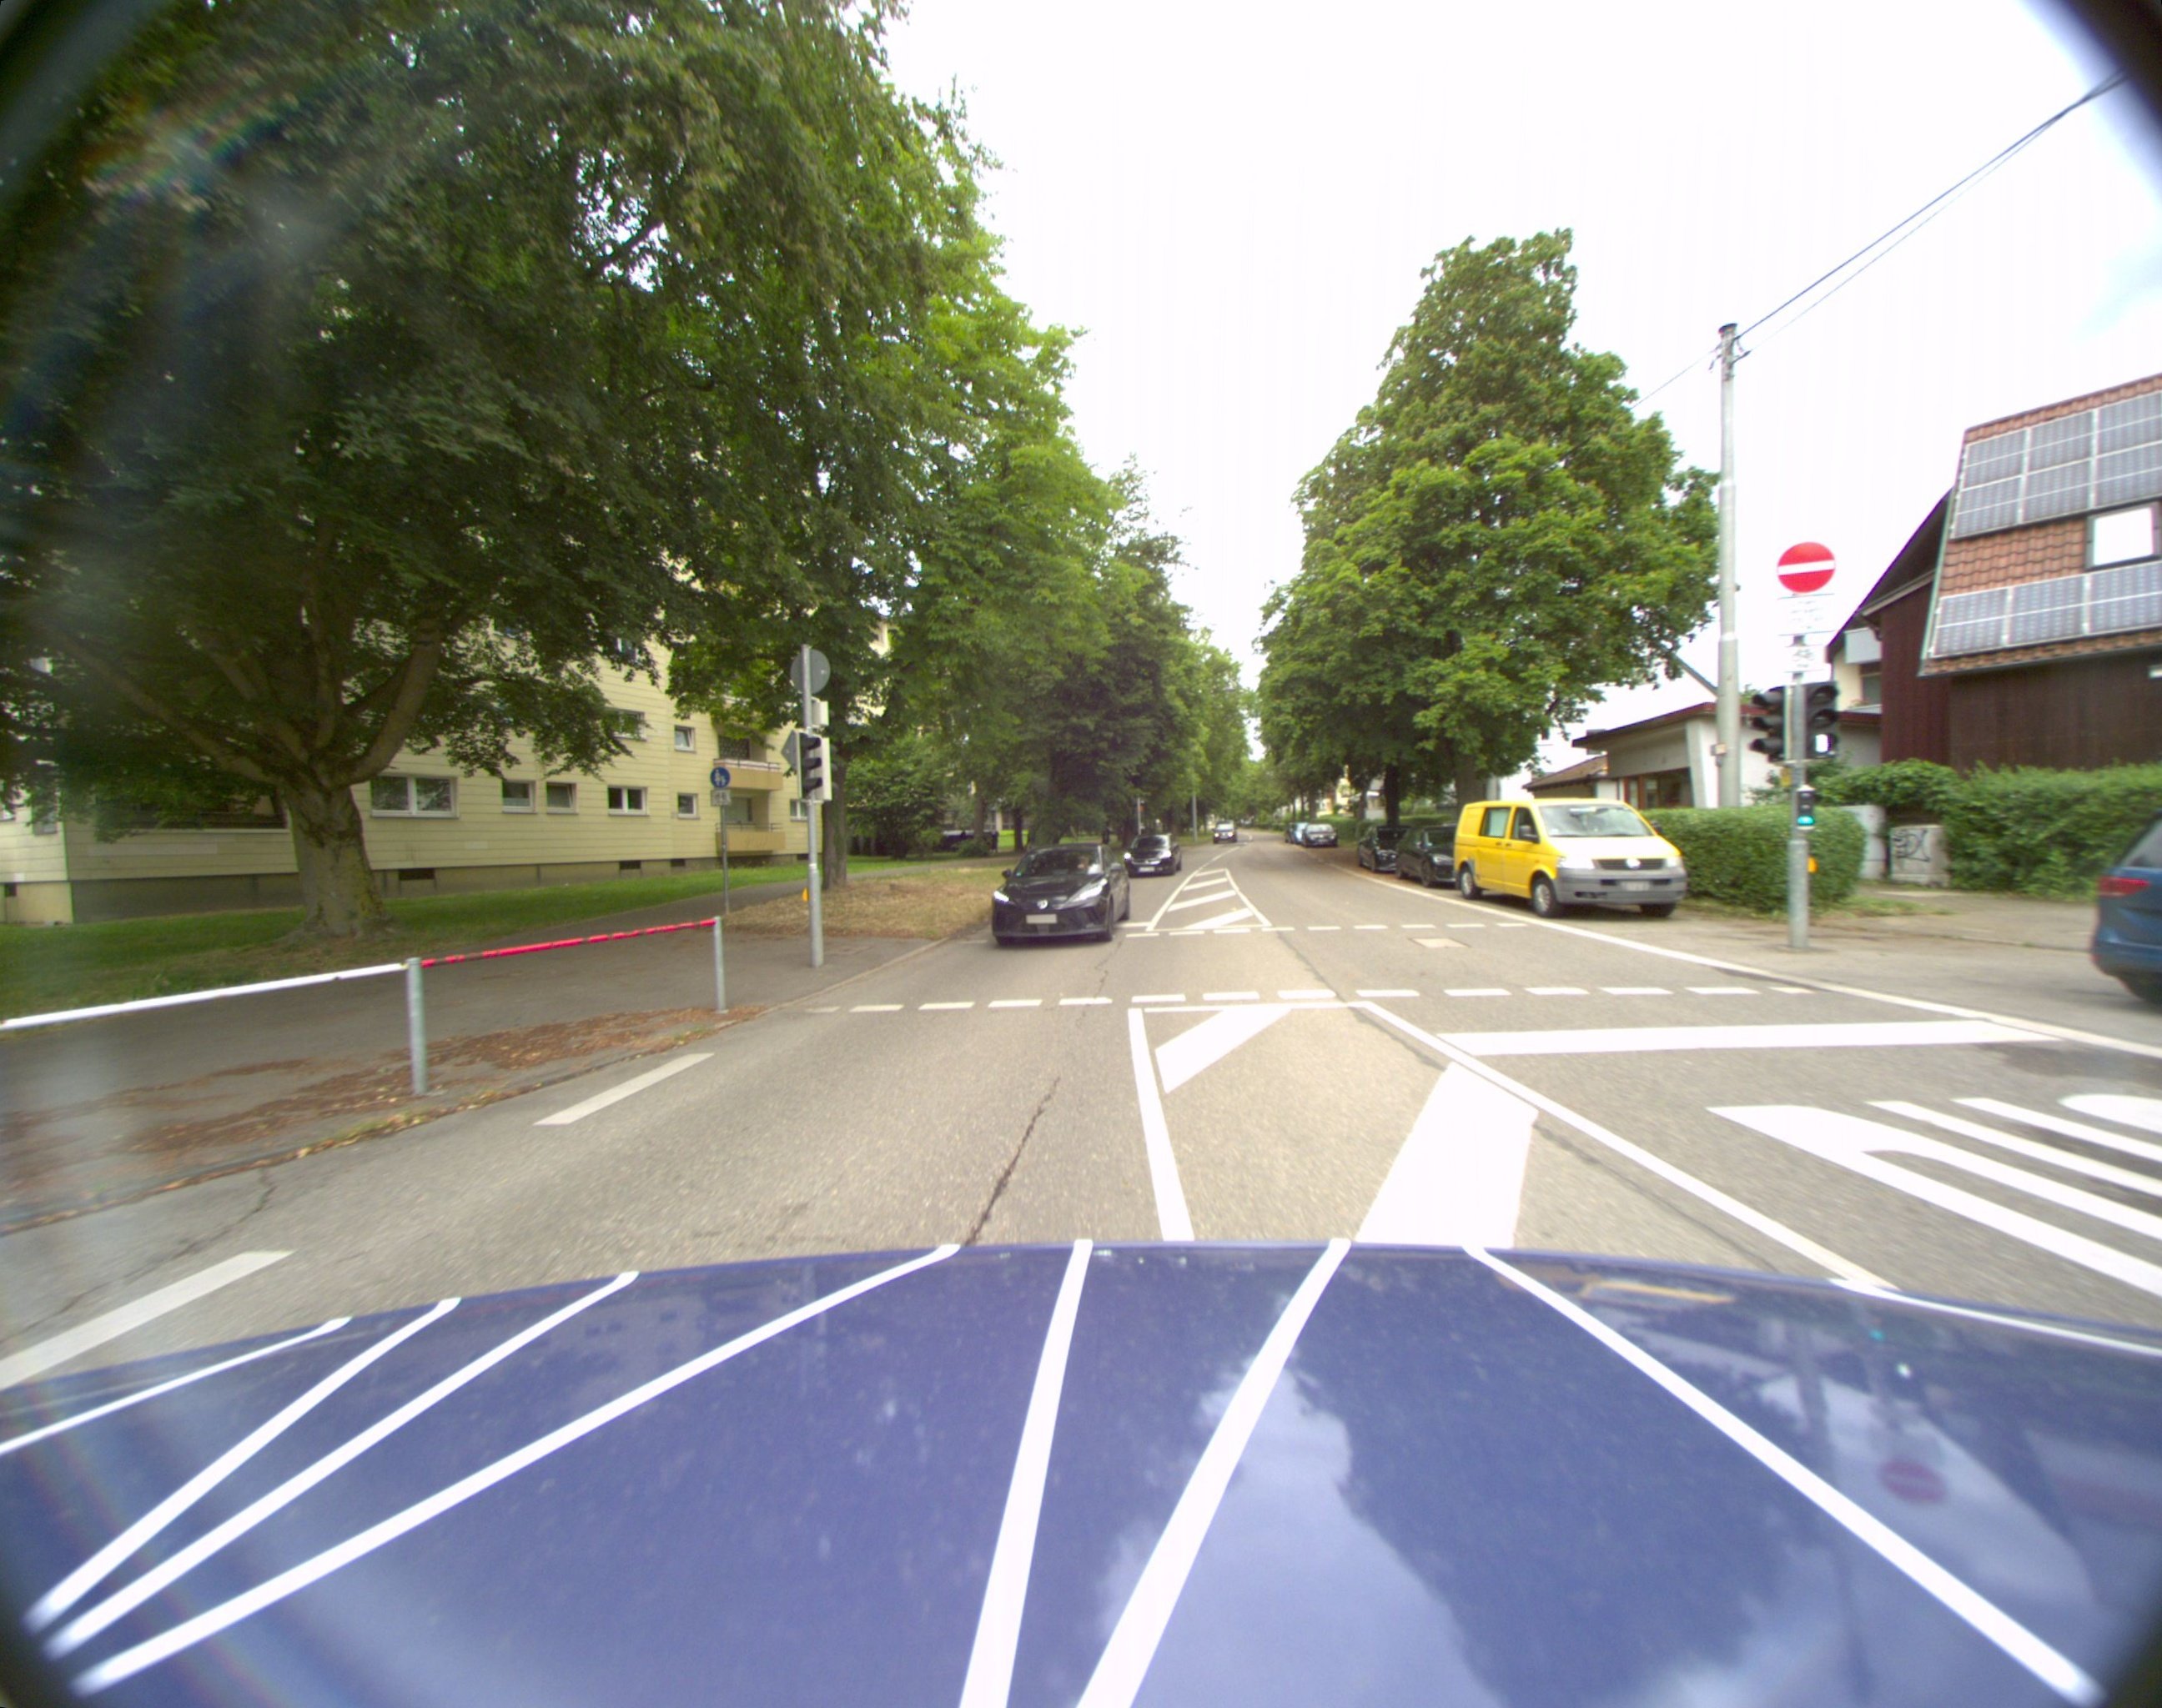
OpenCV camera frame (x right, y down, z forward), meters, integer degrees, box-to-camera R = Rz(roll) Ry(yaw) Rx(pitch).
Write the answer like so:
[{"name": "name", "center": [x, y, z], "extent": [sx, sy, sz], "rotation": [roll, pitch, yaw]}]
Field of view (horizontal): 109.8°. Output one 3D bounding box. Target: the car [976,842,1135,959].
[{"name": "car", "center": [-0.223, 0.642, 12.906], "extent": [1.802, 1.542, 4.300], "rotation": [-2, 2, 10]}]

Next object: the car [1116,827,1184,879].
[{"name": "car", "center": [2.547, -0.093, 27.028], "extent": [1.812, 1.521, 4.001], "rotation": [-1, 4, 13]}]

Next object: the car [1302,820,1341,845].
[{"name": "car", "center": [13.986, -1.289, 44.389], "extent": [1.850, 1.369, 4.596], "rotation": [-1, 2, 14]}]

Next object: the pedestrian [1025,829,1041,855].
[{"name": "pedestrian", "center": [-2.626, -0.675, 41.477], "extent": [0.688, 1.374, 0.606], "rotation": [-1, 4, 11]}]

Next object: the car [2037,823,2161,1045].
[{"name": "car", "center": [9.630, 0.508, 5.046], "extent": [4.175, 1.538, 1.845], "rotation": [-2, 1, 1]}]

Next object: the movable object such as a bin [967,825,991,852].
[{"name": "movable object such as a bin", "center": [-6.439, -0.996, 48.033], "extent": [1.276, 1.633, 1.020], "rotation": [0, 4, 8]}]

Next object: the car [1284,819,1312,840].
[{"name": "car", "center": [15.666, -1.786, 54.959], "extent": [1.539, 1.369, 3.773], "rotation": [-1, 2, 11]}]

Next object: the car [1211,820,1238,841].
[{"name": "car", "center": [11.548, -1.900, 60.948], "extent": [1.996, 1.586, 4.002], "rotation": [-1, 3, 13]}]

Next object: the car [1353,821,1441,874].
[{"name": "car", "center": [9.890, -0.269, 24.112], "extent": [1.748, 1.442, 4.595], "rotation": [-1, 3, 12]}]

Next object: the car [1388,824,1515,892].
[{"name": "car", "center": [9.173, 0.006, 19.215], "extent": [1.748, 1.442, 4.515], "rotation": [-1, 3, 11]}]

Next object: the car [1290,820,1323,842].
[{"name": "car", "center": [14.851, -1.533, 50.194], "extent": [1.636, 1.369, 4.153], "rotation": [-1, 2, 11]}]

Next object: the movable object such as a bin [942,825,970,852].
[{"name": "movable object such as a bin", "center": [-7.930, -1.002, 48.243], "extent": [1.433, 1.633, 1.020], "rotation": [0, 4, 8]}]

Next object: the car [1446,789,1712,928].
[{"name": "car", "center": [8.355, -0.021, 13.408], "extent": [1.920, 1.978, 4.800], "rotation": [-1, 2, 6]}]

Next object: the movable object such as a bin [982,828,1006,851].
[{"name": "movable object such as a bin", "center": [-5.784, -0.981, 50.535], "extent": [1.327, 1.467, 1.202], "rotation": [0, 4, 8]}]
